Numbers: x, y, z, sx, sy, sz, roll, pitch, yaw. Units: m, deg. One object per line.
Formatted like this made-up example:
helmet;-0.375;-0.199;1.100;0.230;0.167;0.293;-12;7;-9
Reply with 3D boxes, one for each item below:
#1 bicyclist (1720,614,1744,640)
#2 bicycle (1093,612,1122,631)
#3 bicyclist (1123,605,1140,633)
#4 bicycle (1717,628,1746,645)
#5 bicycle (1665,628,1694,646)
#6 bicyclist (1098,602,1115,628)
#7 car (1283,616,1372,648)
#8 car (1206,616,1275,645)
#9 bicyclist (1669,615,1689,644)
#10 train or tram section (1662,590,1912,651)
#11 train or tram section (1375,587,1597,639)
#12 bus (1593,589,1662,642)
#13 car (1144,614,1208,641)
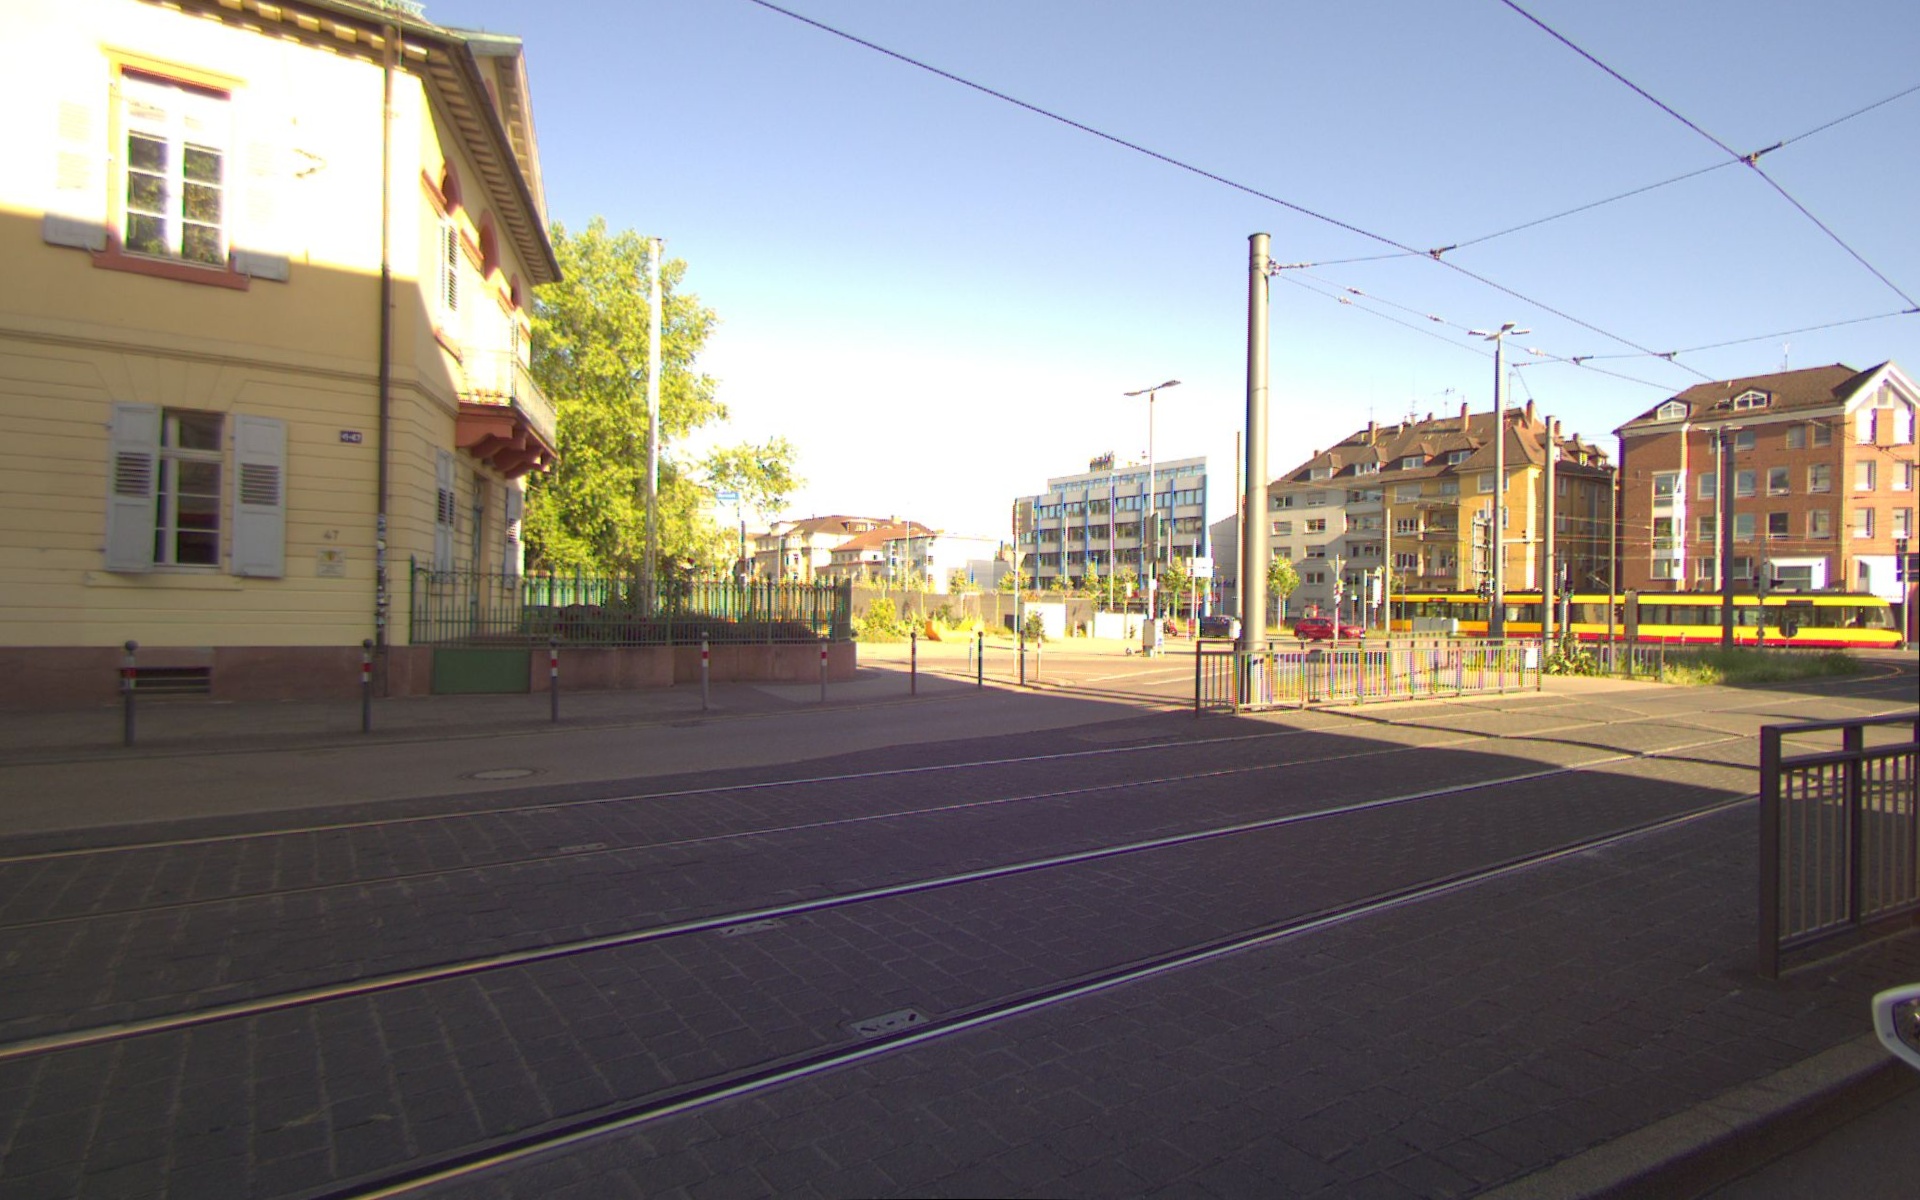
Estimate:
bicyclist;45.315;1.576;58.961;0.688;1.523;0.894;2;0;-30
bicycle;10.422;1.514;71.214;0.542;1.230;2.168;2;0;-41
bicyclist;11.274;1.242;66.044;0.749;1.783;0.747;2;0;-28
bicycle;45.301;2.140;58.956;2.220;0.984;0.521;2;0;-31
bicycle;39.651;2.043;55.349;2.220;0.984;0.444;2;0;-31
bicyclist;10.396;1.060;71.252;0.785;1.832;0.892;2;0;-43
car;21.869;1.866;59.894;1.984;1.723;4.545;2;0;-41
car;18.004;1.921;64.576;1.762;1.694;3.955;2;0;-39
bicyclist;39.605;1.625;55.321;0.688;1.523;0.630;2;0;-30
train or tram section;48.841;1.141;59.917;11.061;3.172;2.801;2;0;28
train or tram section;36.117;0.804;69.853;2.715;3.172;13.542;2;0;-43
bus;42.264;0.960;63.587;3.470;3.172;2.762;2;0;36
car;14.744;1.850;68.568;1.895;1.708;3.916;2;0;-41
